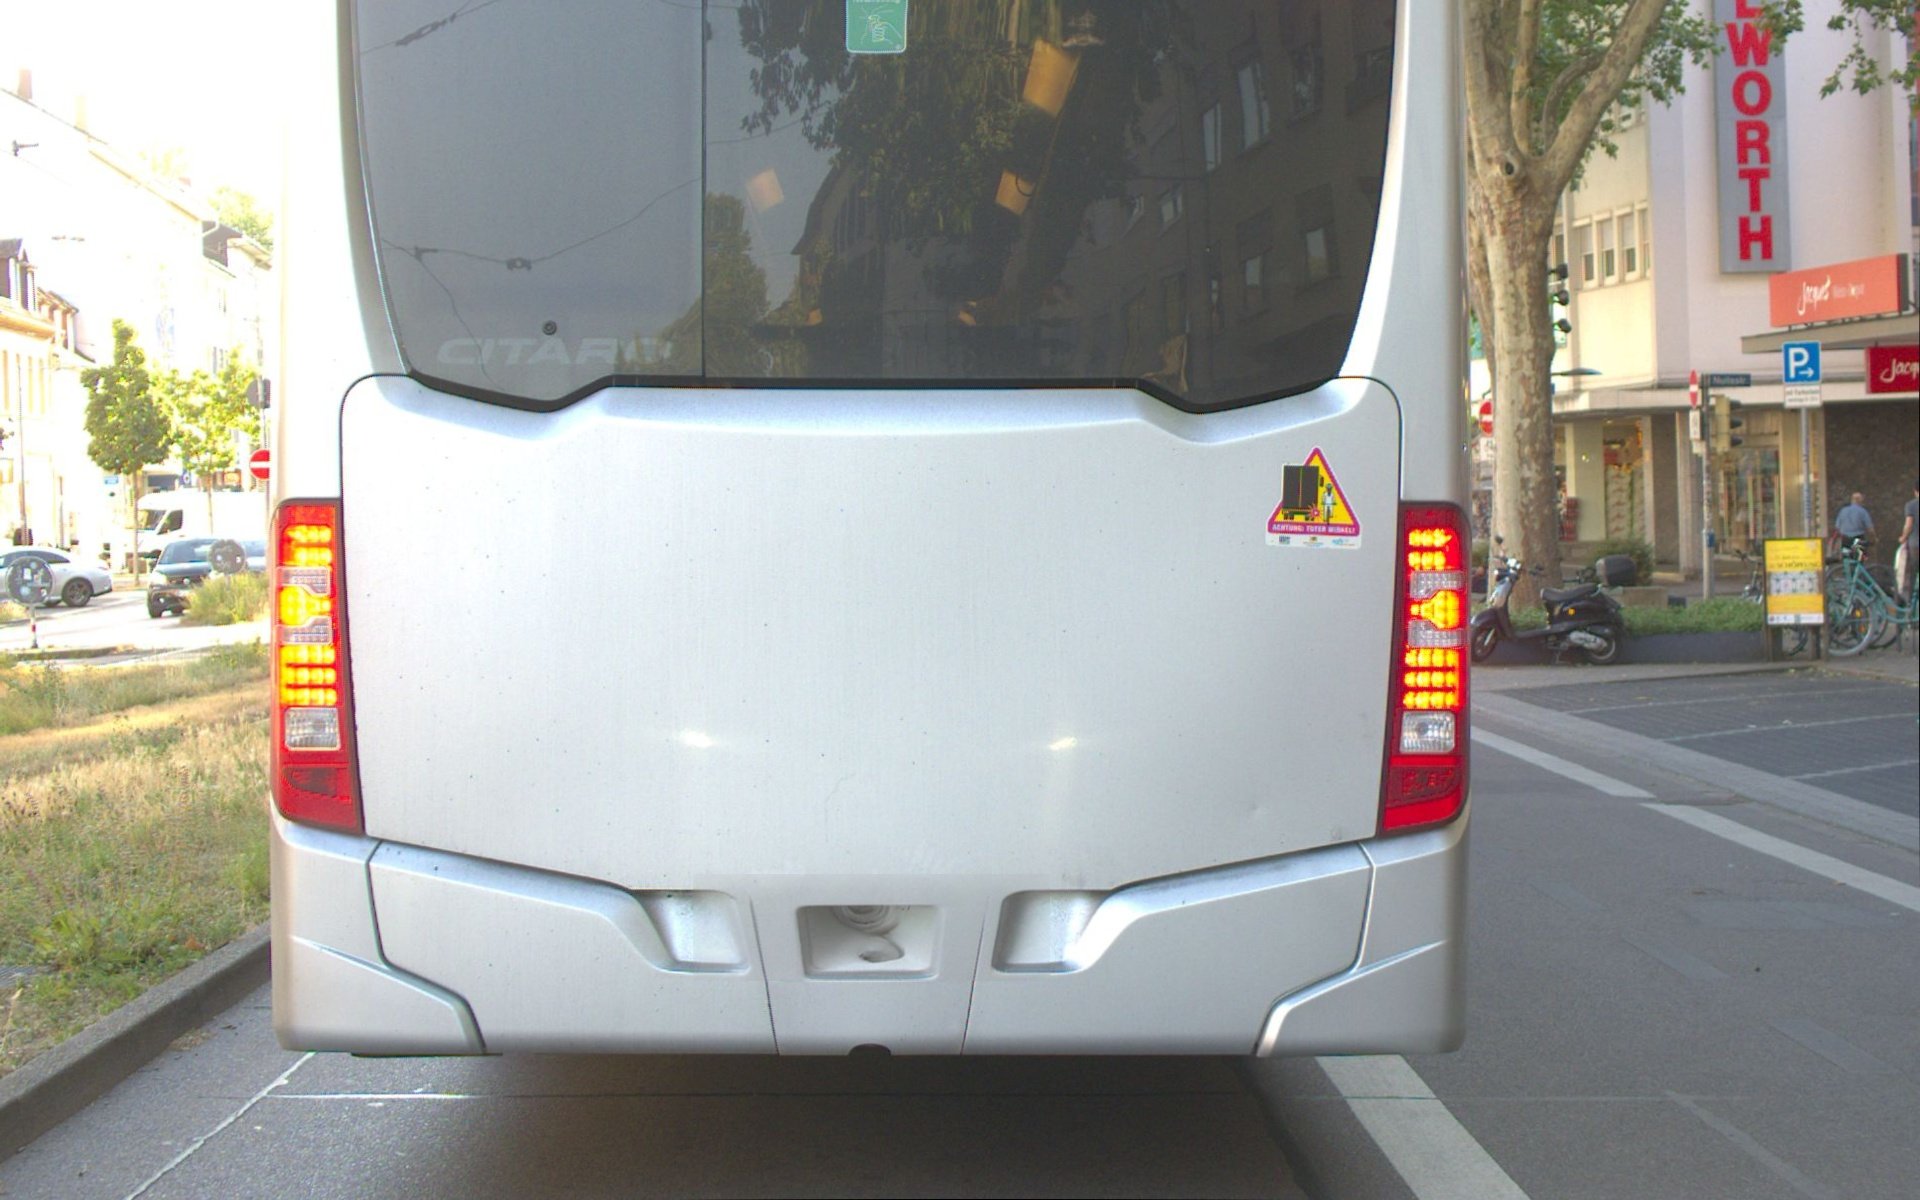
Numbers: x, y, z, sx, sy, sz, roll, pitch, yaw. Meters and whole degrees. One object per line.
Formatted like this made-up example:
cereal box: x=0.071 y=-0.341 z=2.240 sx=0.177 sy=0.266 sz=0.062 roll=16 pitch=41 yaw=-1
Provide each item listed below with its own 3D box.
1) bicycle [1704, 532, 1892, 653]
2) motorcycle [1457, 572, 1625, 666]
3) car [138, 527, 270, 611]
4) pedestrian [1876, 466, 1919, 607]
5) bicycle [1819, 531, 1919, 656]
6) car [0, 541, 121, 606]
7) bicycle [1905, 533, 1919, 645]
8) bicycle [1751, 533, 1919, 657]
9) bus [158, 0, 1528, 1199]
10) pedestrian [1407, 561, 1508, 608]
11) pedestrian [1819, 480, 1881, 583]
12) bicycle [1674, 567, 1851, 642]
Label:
bicycle: x=9.226 y=-0.086 z=37.905 sx=1.877 sy=1.185 sz=0.711 roll=-4 pitch=1 yaw=8
motorcycle: x=5.873 y=0.188 z=34.782 sx=1.570 sy=0.889 sz=0.544 roll=-2 pitch=1 yaw=-3
car: x=-14.968 y=-0.635 z=68.239 sx=1.722 sy=1.504 sz=3.476 roll=-4 pitch=1 yaw=1
pedestrian: x=12.254 y=-0.823 z=44.061 sx=0.780 sy=1.787 sz=0.764 roll=-2 pitch=1 yaw=0
bicycle: x=9.991 y=-0.094 z=35.377 sx=2.081 sy=1.228 sz=0.831 roll=-2 pitch=1 yaw=5
car: x=-21.871 y=-0.595 z=79.071 sx=4.538 sy=1.407 sz=2.000 roll=-3 pitch=2 yaw=-36
bicycle: x=10.816 y=-0.161 z=35.810 sx=1.765 sy=1.150 sz=0.678 roll=-3 pitch=1 yaw=9
bicycle: x=9.503 y=-0.060 z=36.895 sx=1.785 sy=1.185 sz=0.672 roll=-4 pitch=1 yaw=-8
bus: x=-0.190 y=-0.276 z=10.307 sx=2.678 sy=3.072 sz=7.114 roll=0 pitch=2 yaw=1
pedestrian: x=6.597 y=-0.204 z=45.619 sx=1.254 sy=0.587 sz=0.482 roll=-1 pitch=1 yaw=-2
pedestrian: x=14.882 y=-1.157 z=57.493 sx=0.747 sy=1.673 sz=0.835 roll=-2 pitch=3 yaw=-6
bicycle: x=9.058 y=0.052 z=38.860 sx=1.877 sy=0.762 sz=0.711 roll=-1 pitch=3 yaw=8
